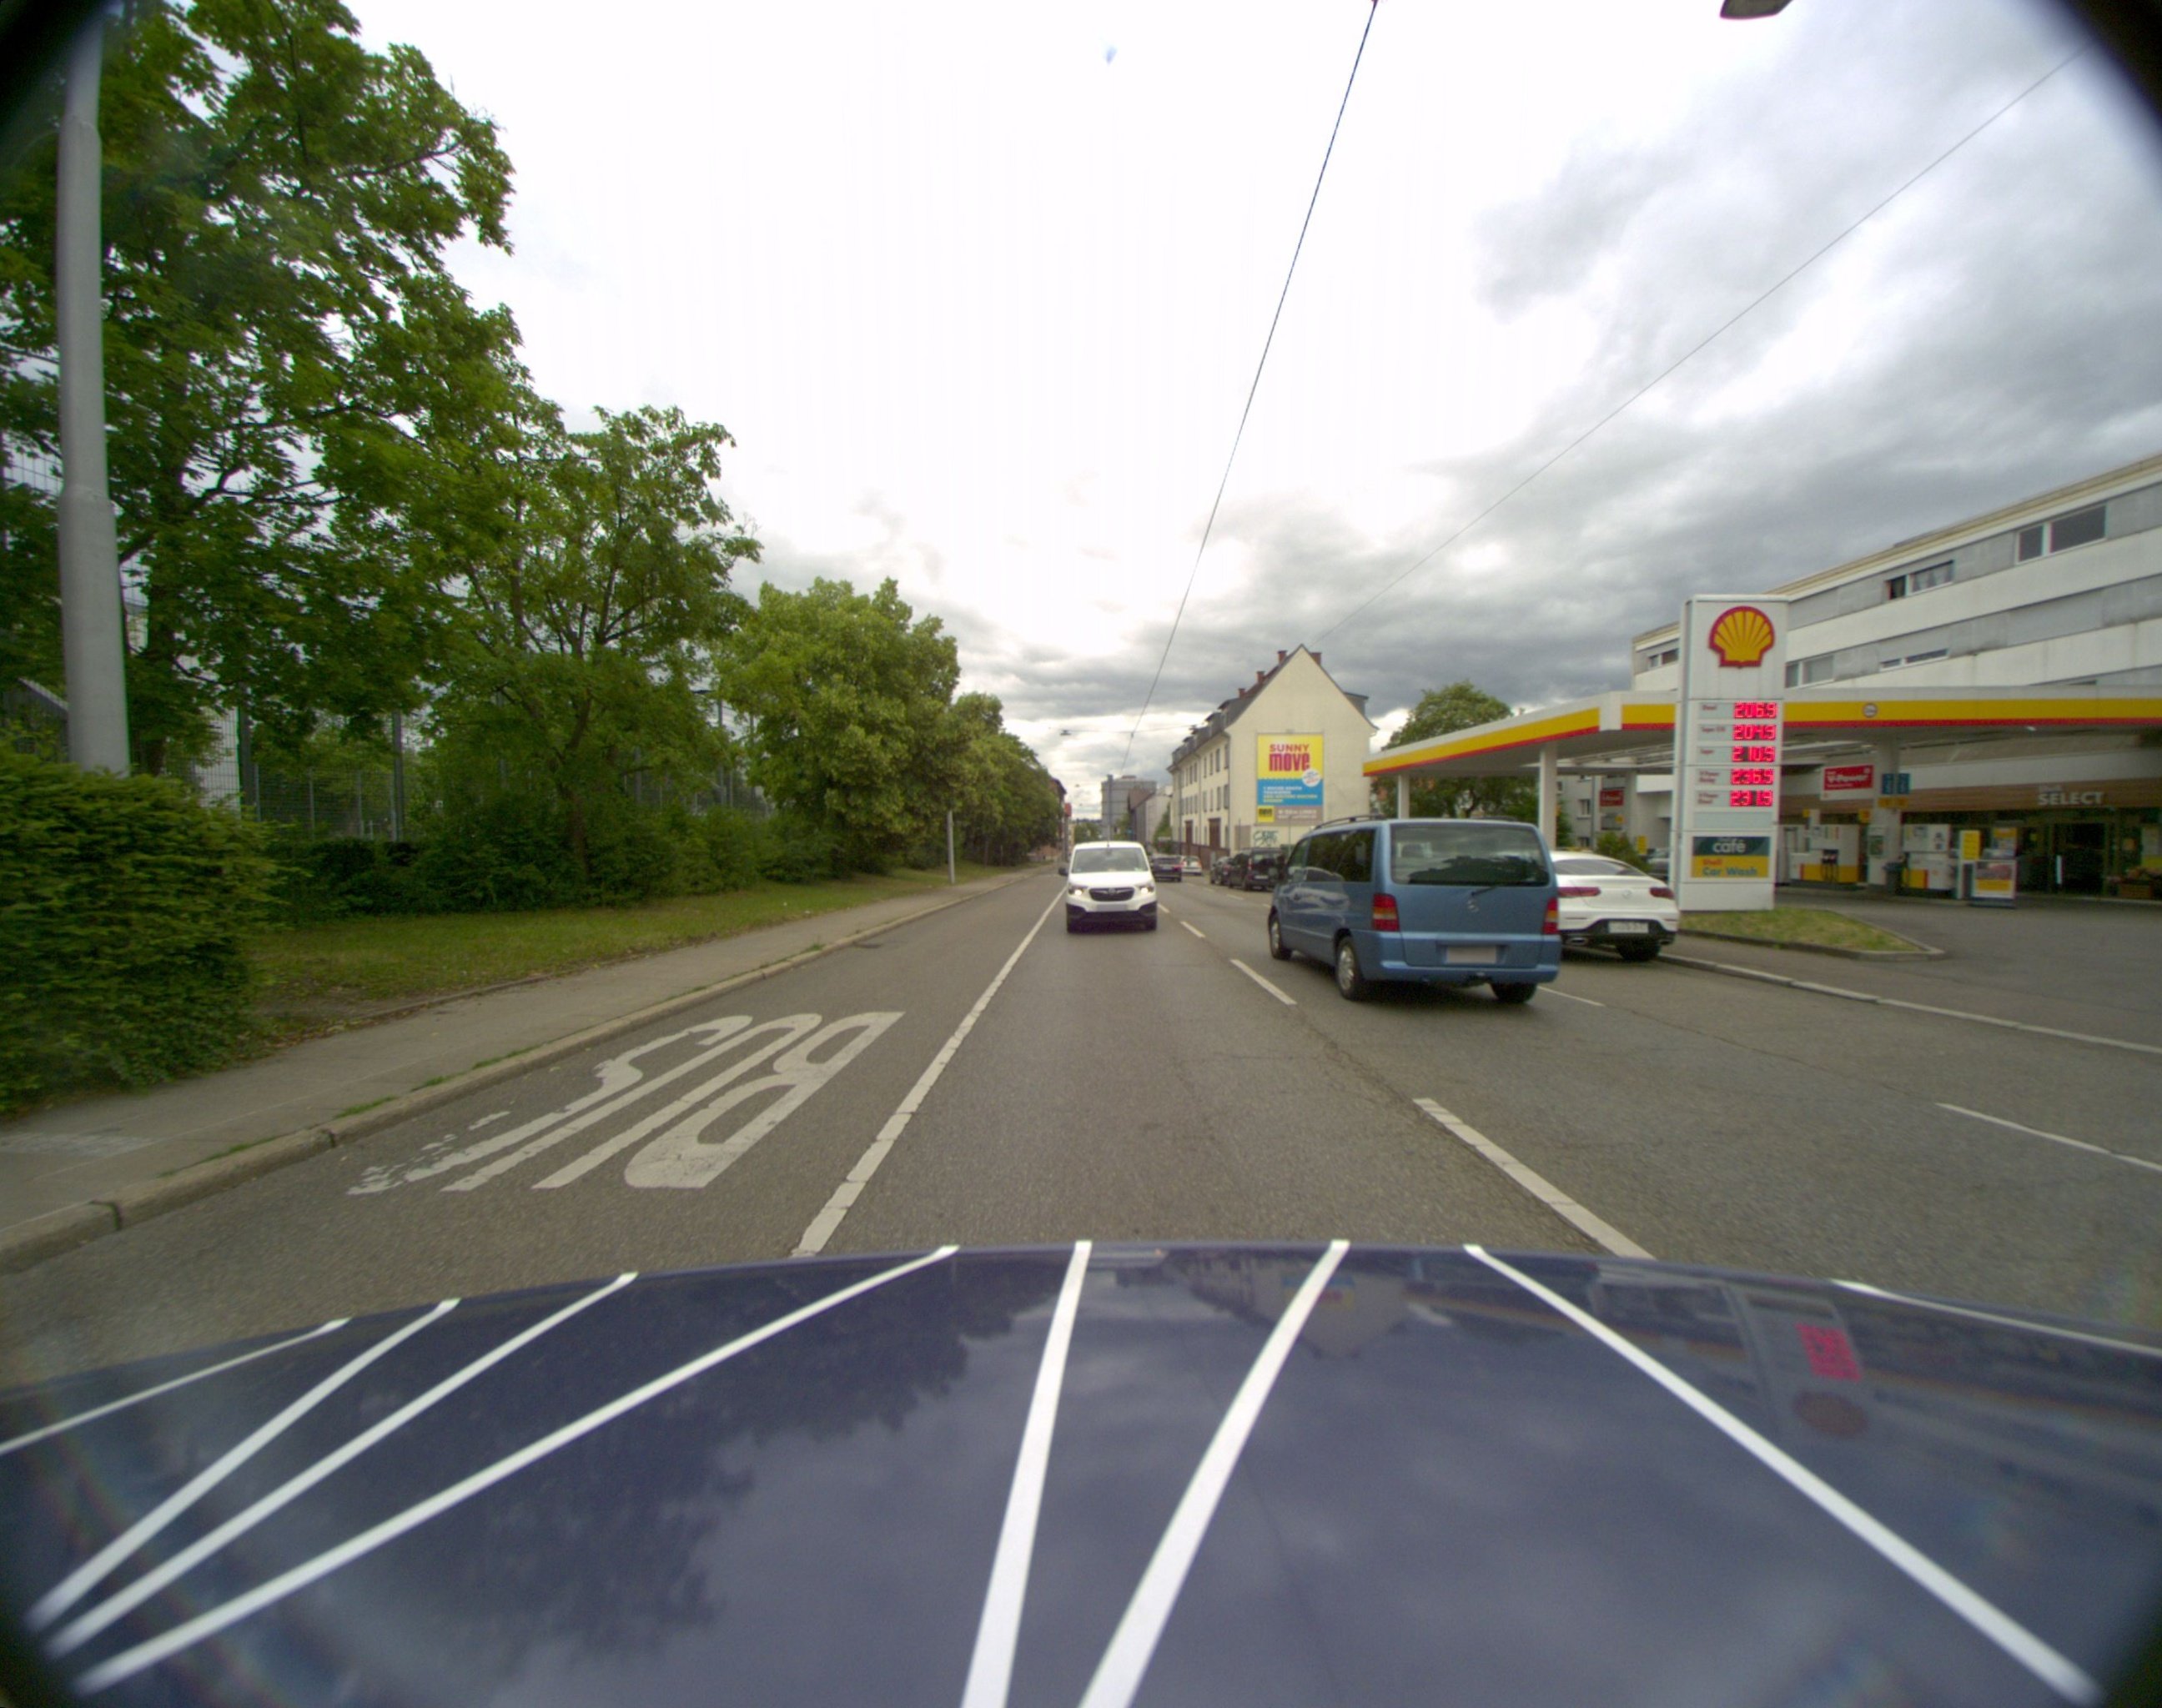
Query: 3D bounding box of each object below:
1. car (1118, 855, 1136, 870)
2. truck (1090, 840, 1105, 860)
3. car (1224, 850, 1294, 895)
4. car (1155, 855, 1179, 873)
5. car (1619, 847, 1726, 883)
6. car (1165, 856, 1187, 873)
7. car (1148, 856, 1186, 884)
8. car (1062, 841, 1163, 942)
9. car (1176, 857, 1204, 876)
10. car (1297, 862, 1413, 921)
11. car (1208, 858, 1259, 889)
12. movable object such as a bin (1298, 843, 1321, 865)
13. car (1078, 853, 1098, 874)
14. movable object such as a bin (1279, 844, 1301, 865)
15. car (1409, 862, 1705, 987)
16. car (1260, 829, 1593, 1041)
[{"bbox_3d":[4.899,0.903,81.764,1.687,1.546,3.719,1,0,0],"label":"car"},{"bbox_3d":[2.928,-0.654,133.457,2.545,3.478,8.522,0,0,1],"label":"truck"},{"bbox_3d":[7.656,0.755,33.149,1.856,1.824,4.701,1,0,-1],"label":"car"},{"bbox_3d":[8.025,0.890,71.346,1.731,1.549,4.081,2,0,0],"label":"car"},{"bbox_3d":[25.296,0.443,32.660,1.802,1.412,3.636,-1,0,1],"label":"car"},{"bbox_3d":[8.259,0.879,66.262,1.551,1.466,3.604,0,0,1],"label":"car"},{"bbox_3d":[4.835,0.887,43.206,1.782,1.457,4.499,0,0,1],"label":"car"},{"bbox_3d":[0.626,0.748,16.208,1.850,1.831,4.285,-1,-1,1],"label":"car"},{"bbox_3d":[8.086,0.915,56.746,1.623,1.417,3.665,0,0,1],"label":"car"},{"bbox_3d":[7.595,0.964,21.575,1.802,1.423,4.744,1,0,3],"label":"car"},{"bbox_3d":[7.709,0.951,38.723,1.795,1.441,4.218,1,0,1],"label":"car"},{"bbox_3d":[16.735,0.003,55.672,1.268,1.529,1.104,1,0,1],"label":"movable object such as a bin"},{"bbox_3d":[0.683,0.876,71.263,1.850,1.832,4.284,-1,0,1],"label":"car"},{"bbox_3d":[15.317,0.027,55.729,1.268,1.529,1.104,1,0,1],"label":"movable object such as a bin"},{"bbox_3d":[7.221,0.939,12.276,1.920,1.568,4.700,0,0,1],"label":"car"},{"bbox_3d":[3.621,0.729,9.077,1.935,1.889,4.589,0,0,1],"label":"car"}]
